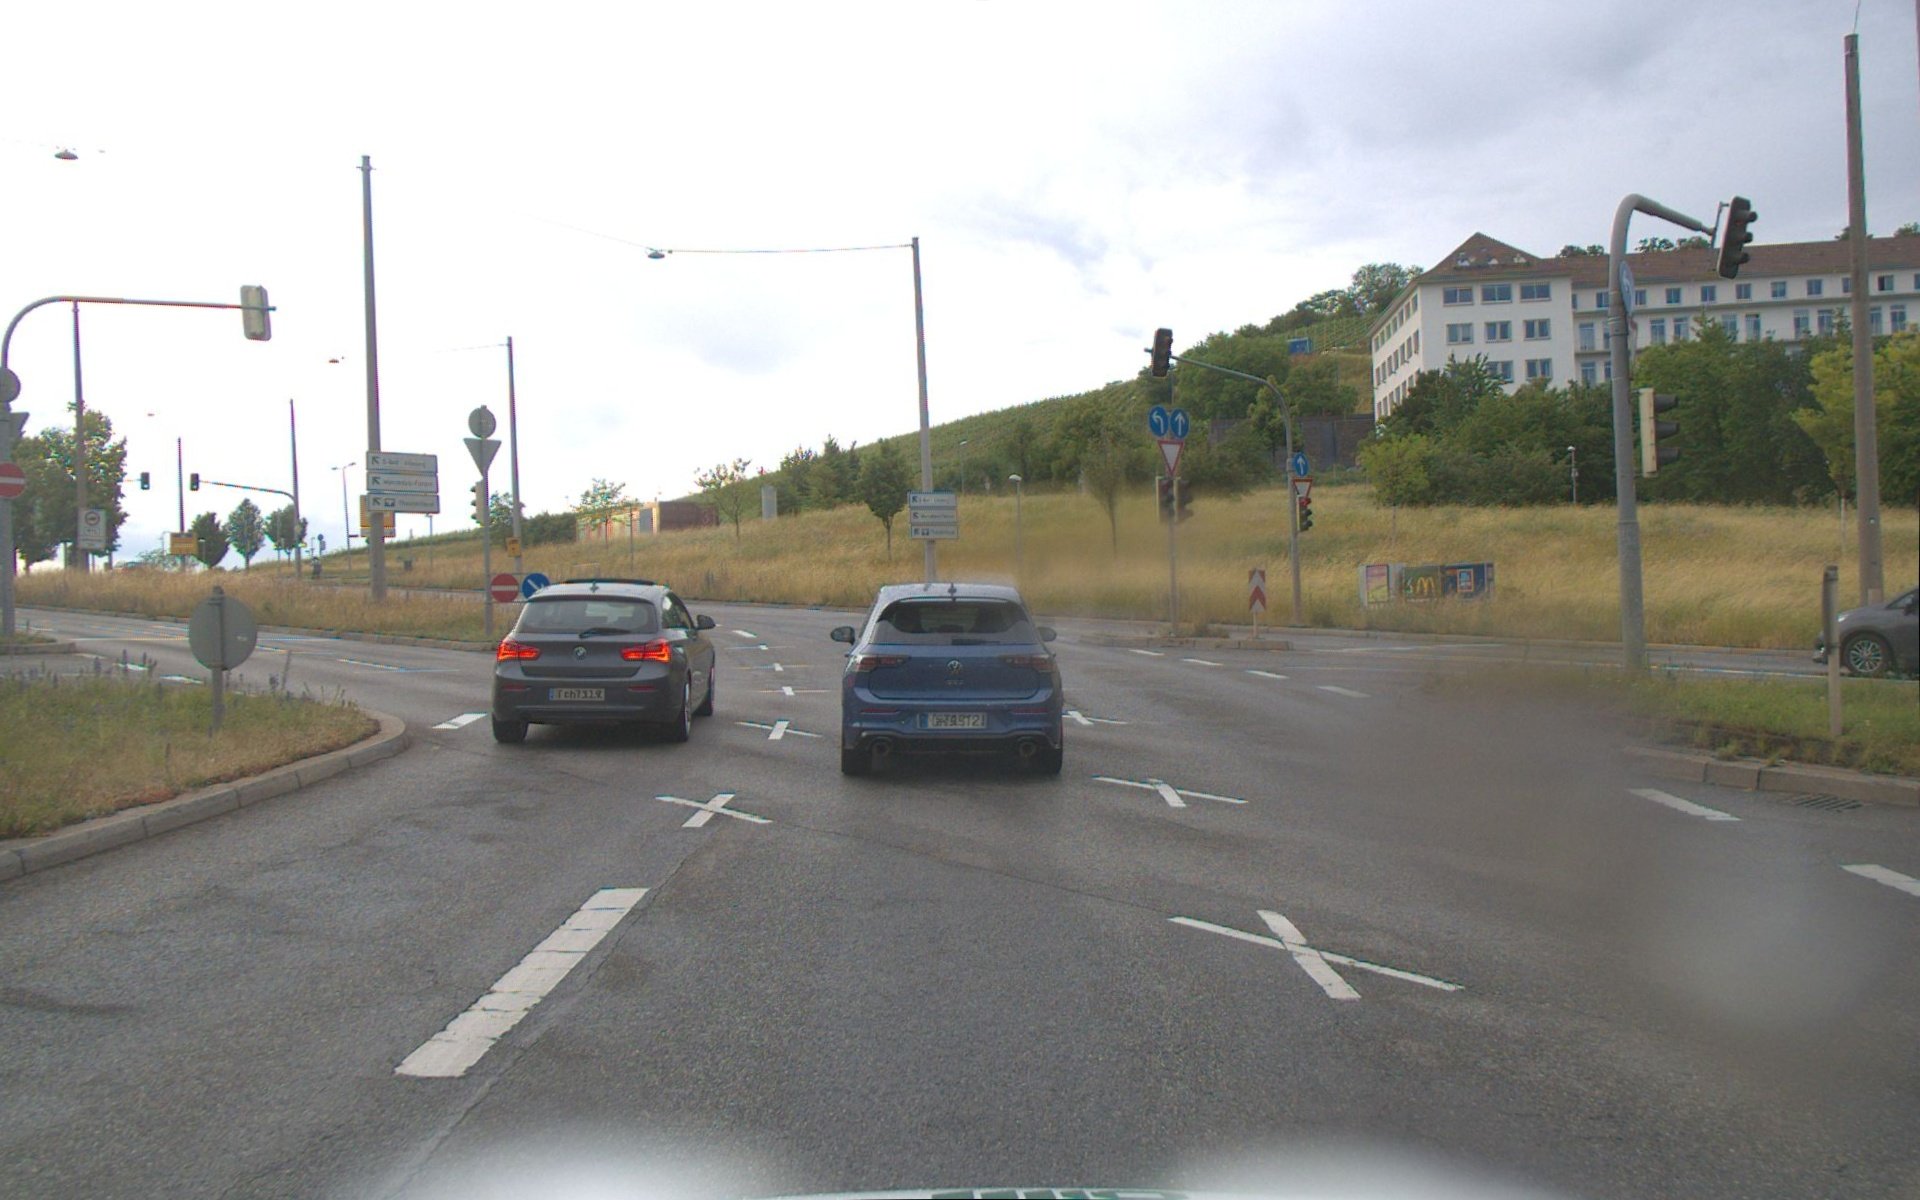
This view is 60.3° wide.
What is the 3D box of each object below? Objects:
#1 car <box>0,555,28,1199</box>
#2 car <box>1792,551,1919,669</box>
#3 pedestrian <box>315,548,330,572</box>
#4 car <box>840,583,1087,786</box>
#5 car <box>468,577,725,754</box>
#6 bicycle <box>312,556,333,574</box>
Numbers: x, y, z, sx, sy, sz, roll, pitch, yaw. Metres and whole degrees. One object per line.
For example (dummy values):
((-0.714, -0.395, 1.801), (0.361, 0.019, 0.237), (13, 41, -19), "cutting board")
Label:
((-3.002, 0.695, 1.674), (1.759, 1.593, 4.043), (2, 1, 1), "car")
((14.616, 0.158, 23.565), (1.982, 1.671, 4.559), (1, 0, -41), "car")
((-42.862, -2.710, 111.208), (0.880, 1.598, 0.630), (0, 1, 44), "pedestrian")
((-0.085, 0.593, 14.045), (1.801, 1.418, 3.998), (0, 1, -3), "car")
((-3.403, 0.534, 16.197), (1.832, 1.487, 3.974), (-1, 1, -3), "car")
((-42.875, -2.369, 111.224), (1.723, 1.124, 0.630), (-2, 0, 45), "bicycle")
